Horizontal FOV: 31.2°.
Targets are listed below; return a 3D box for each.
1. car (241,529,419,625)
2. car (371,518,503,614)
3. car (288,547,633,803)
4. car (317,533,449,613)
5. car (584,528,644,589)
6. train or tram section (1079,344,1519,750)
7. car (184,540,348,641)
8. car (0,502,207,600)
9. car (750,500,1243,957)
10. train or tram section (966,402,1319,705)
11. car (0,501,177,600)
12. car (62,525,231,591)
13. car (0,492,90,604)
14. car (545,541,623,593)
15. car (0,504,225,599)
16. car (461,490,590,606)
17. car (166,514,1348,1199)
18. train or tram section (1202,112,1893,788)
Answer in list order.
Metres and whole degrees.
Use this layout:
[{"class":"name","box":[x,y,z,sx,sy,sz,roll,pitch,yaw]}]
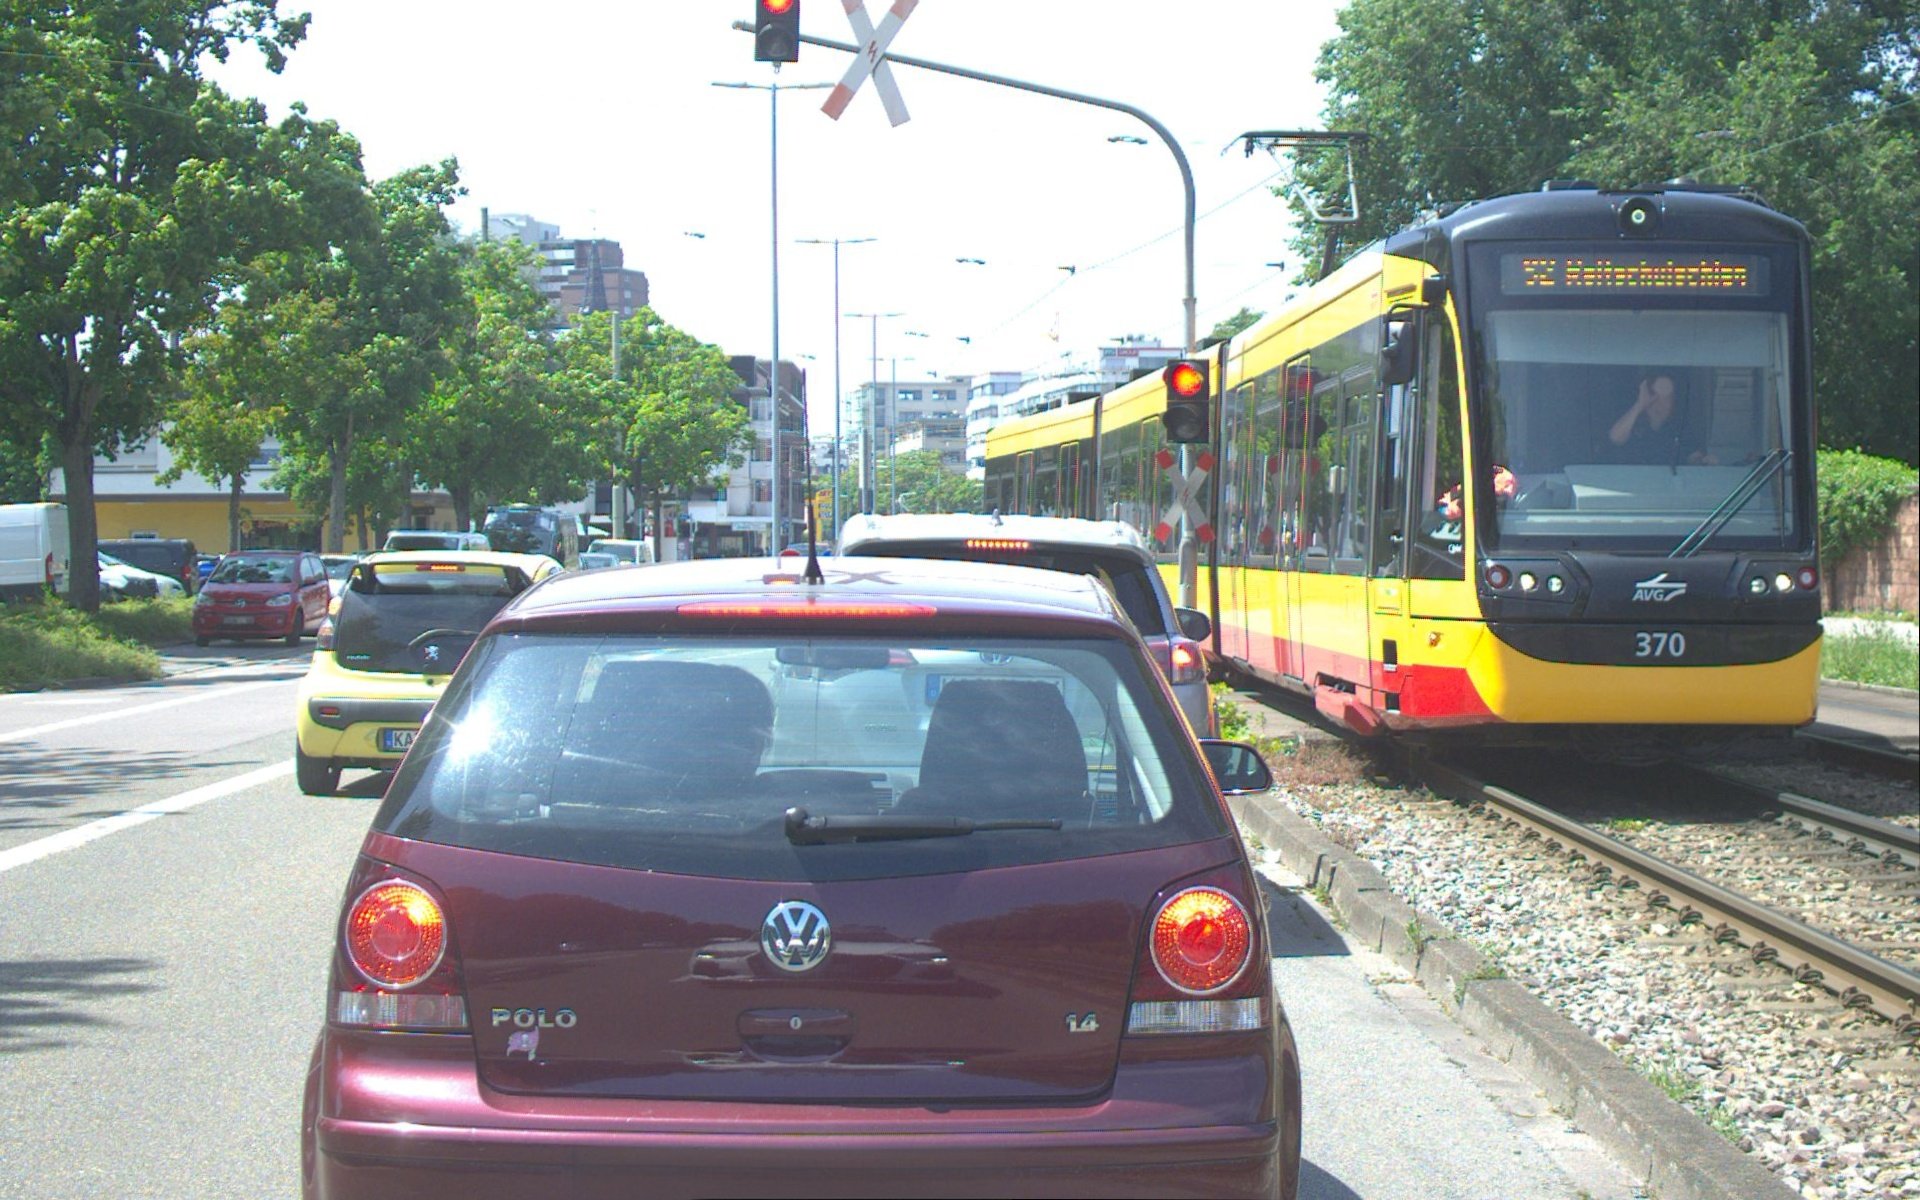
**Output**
[{"class":"car","box":[-11.114,-0.402,60.962,1.976,1.595,4.557,2,0,4]},{"class":"car","box":[-10.785,-0.687,71.199,1.783,1.875,4.785,2,0,2]},{"class":"car","box":[-3.030,0.404,21.459,1.690,1.406,3.516,1,1,-1]},{"class":"car","box":[-10.979,-0.502,65.680,1.614,1.436,4.000,2,0,3]},{"class":"car","box":[-10.805,-1.302,107.522,1.774,1.822,4.001,2,0,-6]},{"class":"train or tram section","box":[3.266,-0.603,36.665,2.740,3.597,10.952,2,1,-4]},{"class":"car","box":[-10.938,-0.154,54.414,1.663,1.491,4.000,2,0,1]},{"class":"car","box":[-21.406,-1.209,84.748,5.097,2.237,2.378,2,0,1]},{"class":"car","box":[0.086,0.434,14.655,1.777,1.641,4.000,1,1,-1]},{"class":"train or tram section","box":[2.232,-0.698,47.104,2.740,3.597,10.953,2,1,-8]},{"class":"car","box":[-21.591,-1.201,82.275,5.097,2.237,2.378,2,0,1]},{"class":"car","box":[-21.682,-1.112,91.752,4.020,1.611,1.816,2,0,1]},{"class":"car","box":[-20.835,-1.117,70.945,5.097,2.237,2.378,2,0,1]},{"class":"car","box":[-11.078,-0.964,101.509,1.614,1.436,4.000,2,0,3]},{"class":"car","box":[-21.514,-1.227,87.345,5.097,2.237,2.378,2,0,1]},{"class":"car","box":[-10.595,-1.239,84.237,2.361,2.683,5.307,2,0,0]},{"class":"car","box":[-0.341,0.613,6.935,1.672,1.516,4.000,1,1,-1]},{"class":"train or tram section","box":[3.645,-0.953,25.144,2.741,3.597,12.870,2,1,0]}]
